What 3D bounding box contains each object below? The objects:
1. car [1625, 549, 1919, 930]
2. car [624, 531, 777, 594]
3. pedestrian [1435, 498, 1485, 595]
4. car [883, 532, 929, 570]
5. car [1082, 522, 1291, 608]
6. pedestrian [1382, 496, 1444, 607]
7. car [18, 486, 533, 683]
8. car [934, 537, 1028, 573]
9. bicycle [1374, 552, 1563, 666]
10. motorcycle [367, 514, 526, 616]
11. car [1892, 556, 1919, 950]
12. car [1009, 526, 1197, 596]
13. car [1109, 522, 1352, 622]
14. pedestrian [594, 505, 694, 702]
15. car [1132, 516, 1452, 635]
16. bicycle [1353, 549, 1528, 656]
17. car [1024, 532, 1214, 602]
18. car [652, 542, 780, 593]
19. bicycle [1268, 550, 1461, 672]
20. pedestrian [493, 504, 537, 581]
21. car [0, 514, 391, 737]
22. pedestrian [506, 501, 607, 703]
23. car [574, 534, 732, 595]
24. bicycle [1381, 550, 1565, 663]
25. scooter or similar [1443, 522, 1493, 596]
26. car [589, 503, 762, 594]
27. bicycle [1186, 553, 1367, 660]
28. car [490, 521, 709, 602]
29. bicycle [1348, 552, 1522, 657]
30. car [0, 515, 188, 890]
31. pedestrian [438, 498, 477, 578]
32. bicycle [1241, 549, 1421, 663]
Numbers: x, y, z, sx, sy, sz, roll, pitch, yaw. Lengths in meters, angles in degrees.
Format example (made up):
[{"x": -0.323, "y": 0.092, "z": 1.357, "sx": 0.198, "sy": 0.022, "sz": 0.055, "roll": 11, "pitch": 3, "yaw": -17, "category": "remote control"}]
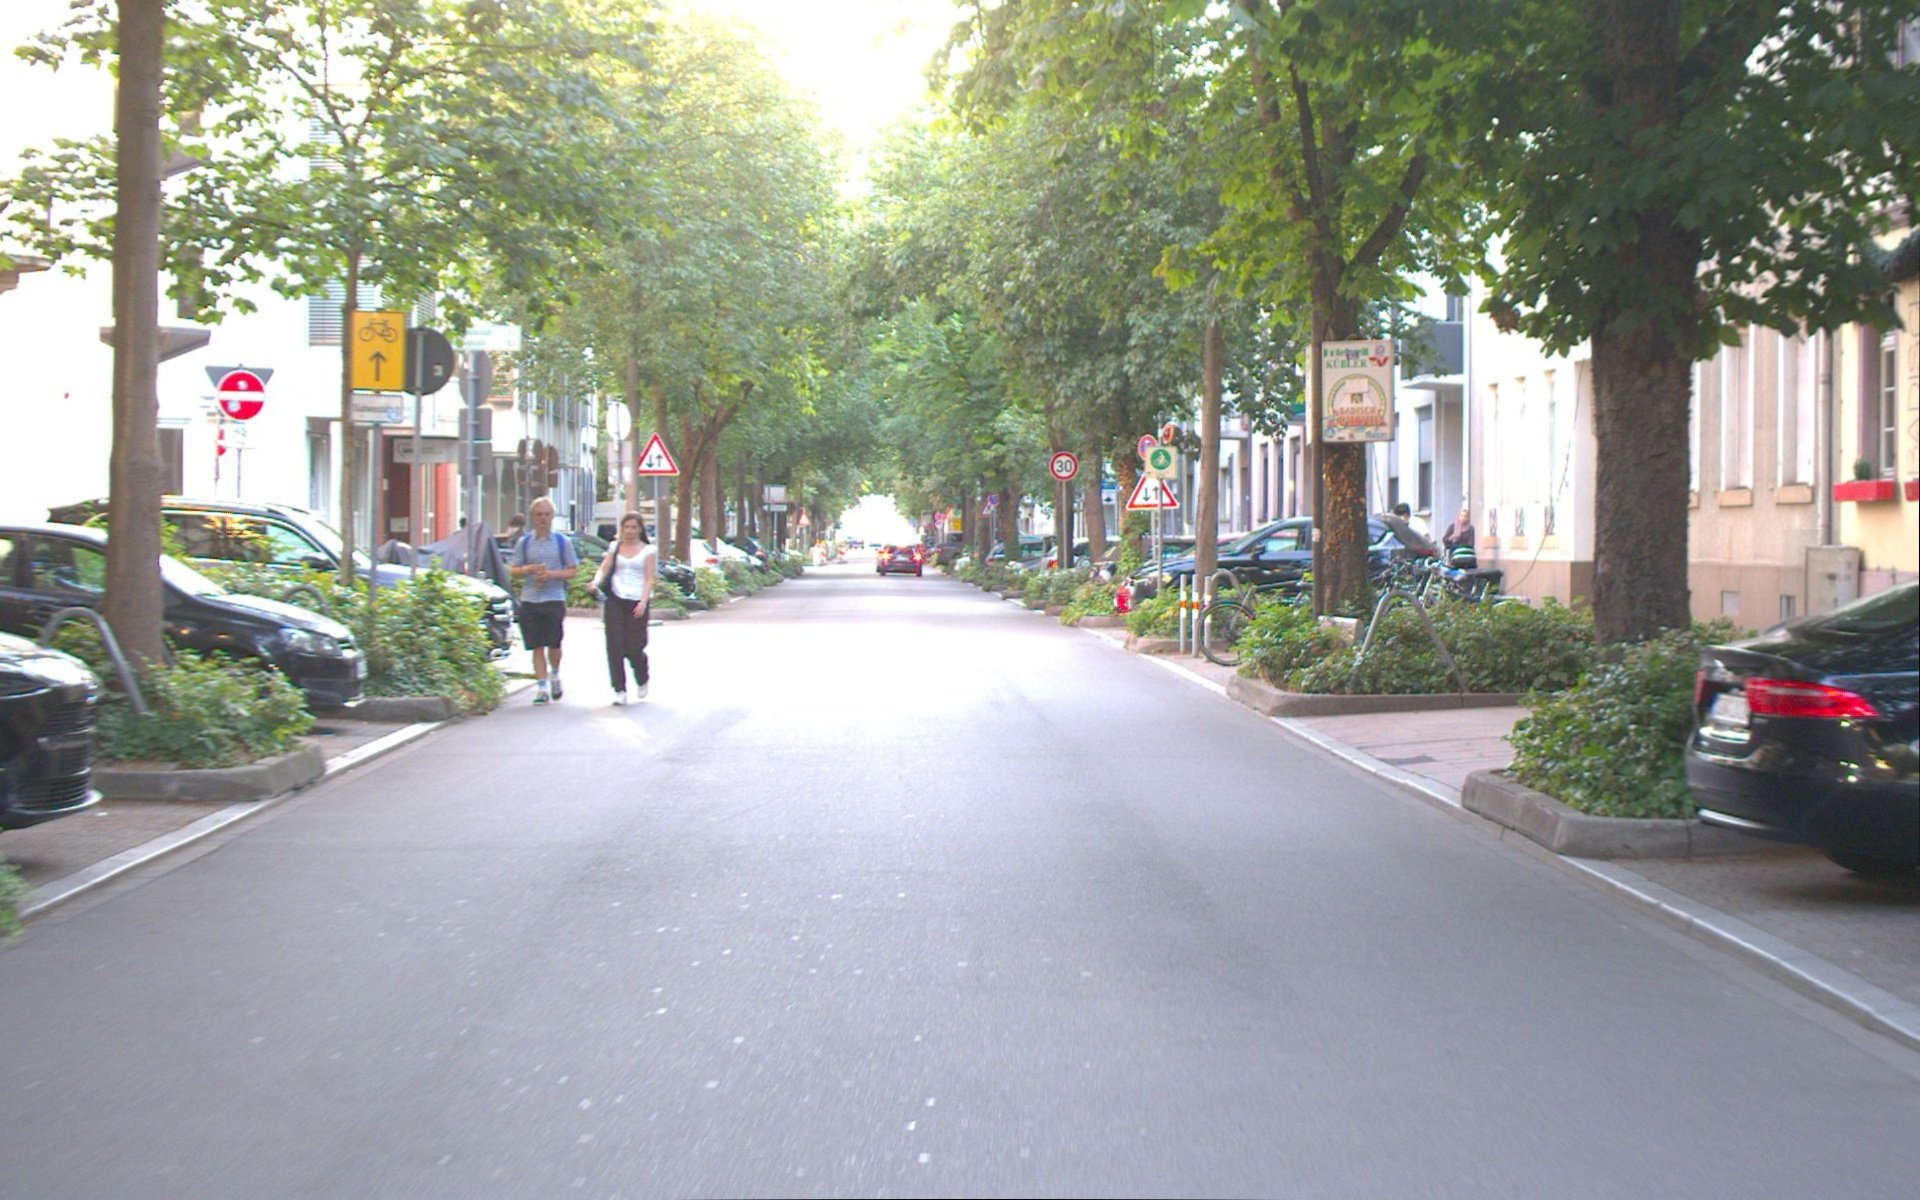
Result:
[{"x": 5.195, "y": 0.438, "z": 14.254, "sx": 4.400, "sy": 1.389, "sz": 1.886, "roll": -3, "pitch": 1, "yaw": -3, "category": "car"}, {"x": -8.196, "y": -1.189, "z": 108.890, "sx": 4.682, "sy": 1.848, "sz": 1.963, "roll": -1, "pitch": 1, "yaw": -1, "category": "car"}, {"x": 7.955, "y": -0.847, "z": 54.695, "sx": 0.655, "sy": 1.531, "sz": 0.831, "roll": -1, "pitch": 1, "yaw": 0, "category": "pedestrian"}, {"x": -2.350, "y": -2.125, "z": 148.886, "sx": 1.956, "sy": 1.560, "sz": 4.282, "roll": -1, "pitch": 1, "yaw": -1, "category": "car"}, {"x": 4.019, "y": -0.641, "z": 61.356, "sx": 3.483, "sy": 1.447, "sz": 1.900, "roll": -1, "pitch": 1, "yaw": -3, "category": "car"}, {"x": 7.134, "y": -0.769, "z": 54.188, "sx": 0.689, "sy": 1.731, "sz": 0.674, "roll": -1, "pitch": 1, "yaw": -32, "category": "pedestrian"}, {"x": -6.353, "y": -0.172, "z": 32.272, "sx": 4.426, "sy": 1.645, "sz": 1.873, "roll": 2, "pitch": 2, "yaw": 0, "category": "car"}, {"x": 0.946, "y": -2.101, "z": 159.570, "sx": 4.268, "sy": 1.560, "sz": 1.963, "roll": -1, "pitch": 1, "yaw": -1, "category": "car"}, {"x": 5.224, "y": 0.088, "z": 35.367, "sx": 1.794, "sy": 1.124, "sz": 0.664, "roll": -1, "pitch": 1, "yaw": -7, "category": "bicycle"}, {"x": -7.671, "y": -0.525, "z": 51.348, "sx": 2.208, "sy": 1.476, "sz": 0.860, "roll": 0, "pitch": 2, "yaw": -19, "category": "motorcycle"}, {"x": 5.491, "y": 0.469, "z": 11.759, "sx": 3.986, "sy": 1.433, "sz": 1.927, "roll": -3, "pitch": 1, "yaw": -3, "category": "car"}, {"x": 3.642, "y": -1.013, "z": 88.165, "sx": 4.717, "sy": 1.704, "sz": 1.950, "roll": 1, "pitch": 2, "yaw": 1, "category": "car"}, {"x": 4.125, "y": -0.445, "z": 52.861, "sx": 3.483, "sy": 1.447, "sz": 1.900, "roll": -1, "pitch": 1, "yaw": -3, "category": "car"}, {"x": -2.712, "y": 0.020, "z": 29.553, "sx": 0.794, "sy": 1.665, "sz": 0.831, "roll": -1, "pitch": 1, "yaw": -2, "category": "pedestrian"}, {"x": 4.742, "y": -0.367, "z": 49.593, "sx": 4.426, "sy": 1.650, "sz": 1.899, "roll": 0, "pitch": 1, "yaw": 0, "category": "car"}, {"x": 5.346, "y": 0.017, "z": 38.243, "sx": 1.794, "sy": 1.139, "sz": 0.669, "roll": -1, "pitch": 1, "yaw": -10, "category": "bicycle"}, {"x": 3.405, "y": -0.726, "z": 74.246, "sx": 3.876, "sy": 1.435, "sz": 1.848, "roll": -1, "pitch": 1, "yaw": -4, "category": "car"}, {"x": -8.261, "y": -1.110, "z": 116.616, "sx": 4.203, "sy": 1.630, "sz": 1.963, "roll": -1, "pitch": 1, "yaw": -1, "category": "car"}, {"x": 4.042, "y": 0.104, "z": 34.437, "sx": 1.829, "sy": 1.174, "sz": 0.673, "roll": -1, "pitch": 1, "yaw": -2, "category": "bicycle"}, {"x": -10.080, "y": -1.303, "z": 77.951, "sx": 0.704, "sy": 1.751, "sz": 0.739, "roll": 1, "pitch": 0, "yaw": 23, "category": "pedestrian"}, {"x": -6.118, "y": 0.142, "z": 24.871, "sx": 3.692, "sy": 1.453, "sz": 1.873, "roll": 2, "pitch": 2, "yaw": -2, "category": "car"}, {"x": -3.509, "y": 0.007, "z": 29.962, "sx": 0.794, "sy": 1.731, "sz": 0.831, "roll": -1, "pitch": 1, "yaw": -2, "category": "pedestrian"}, {"x": -7.849, "y": -0.922, "z": 88.163, "sx": 3.870, "sy": 1.481, "sz": 1.757, "roll": 1, "pitch": 1, "yaw": 1, "category": "car"}, {"x": 5.394, "y": 0.058, "z": 36.187, "sx": 1.794, "sy": 1.139, "sz": 0.651, "roll": -1, "pitch": 1, "yaw": -10, "category": "bicycle"}, {"x": 7.967, "y": -0.646, "z": 53.923, "sx": 0.655, "sy": 1.149, "sz": 0.831, "roll": -1, "pitch": 1, "yaw": 0, "category": "scooter or similar"}, {"x": -7.956, "y": -1.449, "z": 96.447, "sx": 4.682, "sy": 2.469, "sz": 2.000, "roll": 1, "pitch": 0, "yaw": -1, "category": "car"}, {"x": 3.494, "y": 0.060, "z": 37.960, "sx": 1.837, "sy": 1.131, "sz": 0.745, "roll": -1, "pitch": 1, "yaw": -11, "category": "bicycle"}, {"x": -7.020, "y": -0.763, "z": 67.256, "sx": 4.127, "sy": 1.481, "sz": 1.929, "roll": 1, "pitch": 1, "yaw": -2, "category": "car"}, {"x": 5.187, "y": 0.049, "z": 37.555, "sx": 1.794, "sy": 1.104, "sz": 0.500, "roll": -1, "pitch": 1, "yaw": -6, "category": "bicycle"}, {"x": -5.543, "y": 0.369, "z": 14.952, "sx": 3.945, "sy": 1.527, "sz": 1.908, "roll": 1, "pitch": 1, "yaw": -2, "category": "car"}, {"x": -10.938, "y": -1.351, "z": 74.829, "sx": 0.703, "sy": 1.722, "sz": 0.905, "roll": 1, "pitch": 0, "yaw": -1, "category": "pedestrian"}, {"x": 3.947, "y": 0.060, "z": 36.639, "sx": 1.829, "sy": 1.174, "sz": 0.601, "roll": -1, "pitch": 1, "yaw": -2, "category": "bicycle"}]
